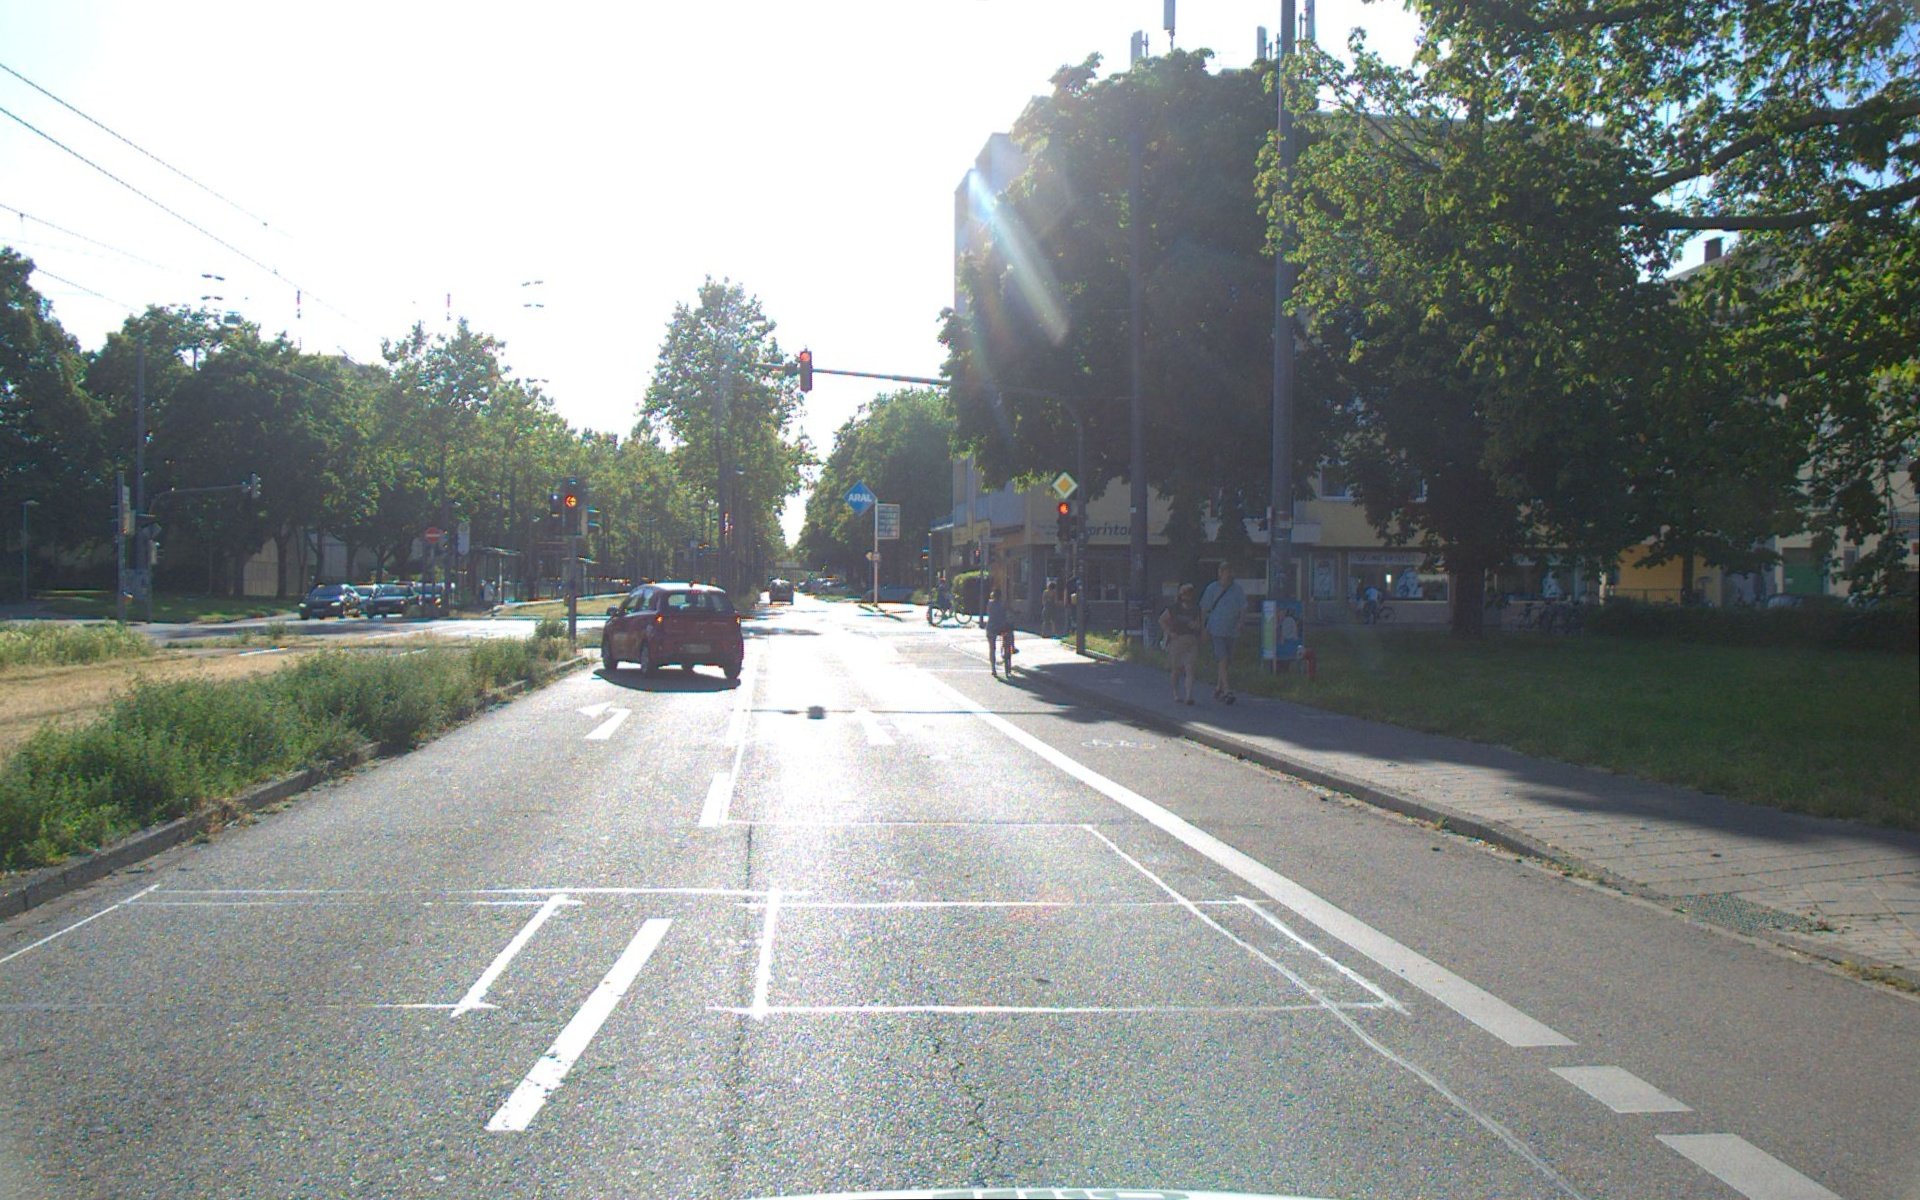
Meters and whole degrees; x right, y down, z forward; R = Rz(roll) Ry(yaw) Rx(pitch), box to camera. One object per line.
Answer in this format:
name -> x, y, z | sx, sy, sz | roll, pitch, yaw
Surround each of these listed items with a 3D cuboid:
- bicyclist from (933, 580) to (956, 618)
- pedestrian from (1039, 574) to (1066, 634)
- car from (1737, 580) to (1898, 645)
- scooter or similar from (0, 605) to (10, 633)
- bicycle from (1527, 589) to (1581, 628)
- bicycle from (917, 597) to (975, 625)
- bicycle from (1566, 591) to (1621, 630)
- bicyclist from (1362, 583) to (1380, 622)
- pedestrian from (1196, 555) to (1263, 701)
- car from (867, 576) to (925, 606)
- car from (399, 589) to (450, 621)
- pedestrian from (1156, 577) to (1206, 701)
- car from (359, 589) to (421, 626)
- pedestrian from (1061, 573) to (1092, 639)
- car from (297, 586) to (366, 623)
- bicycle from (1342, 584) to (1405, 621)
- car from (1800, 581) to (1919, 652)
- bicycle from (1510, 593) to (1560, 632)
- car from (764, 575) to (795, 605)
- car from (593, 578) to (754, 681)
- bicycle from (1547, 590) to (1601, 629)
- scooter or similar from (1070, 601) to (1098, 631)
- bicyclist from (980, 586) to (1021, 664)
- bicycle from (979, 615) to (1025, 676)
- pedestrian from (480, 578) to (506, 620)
bicyclist -> -0.622, -0.057, 66.067 | 0.752, 1.496, 0.899 | -1, 1, 10
pedestrian -> 2.440, 0.105, 43.775 | 0.633, 1.549, 0.496 | 2, 0, 6
car -> 20.873, 0.286, 40.299 | 3.187, 1.555, 1.573 | 0, 1, -9
scooter or similar -> -32.846, 0.643, 55.364 | 1.710, 0.915, 0.560 | 0, 1, -22
bicycle -> 16.977, 0.235, 47.310 | 0.585, 1.052, 2.004 | 2, 0, -7
bicycle -> -0.549, 0.444, 66.041 | 2.203, 1.004, 0.790 | 1, 5, 9
bicycle -> 18.218, 0.286, 47.583 | 0.585, 1.052, 2.004 | 2, 0, -7
bicyclist -> 16.773, 0.096, 67.564 | 0.517, 1.594, 0.463 | 2, 0, -9
pedestrian -> 3.471, 0.342, 21.347 | 0.689, 1.820, 0.694 | -2, 2, -1
car -> -4.569, -0.646, 118.204 | 3.903, 1.892, 2.013 | 2, 0, 4
car -> -25.856, 0.219, 79.973 | 1.536, 1.426, 3.910 | 2, 0, -6
pedestrian -> 2.848, 0.493, 21.365 | 0.518, 1.555, 0.627 | -2, 0, -1
car -> -25.210, 0.311, 73.282 | 1.655, 1.559, 4.355 | 0, 1, -6
pedestrian -> 3.088, 0.162, 43.821 | 0.714, 1.711, 0.533 | 2, 0, 6
car -> -27.599, 0.179, 72.769 | 1.772, 1.559, 4.355 | 0, 1, -6
bicycle -> 17.037, 0.117, 68.148 | 2.423, 1.424, 0.607 | 2, 0, -8
car -> 21.215, 0.356, 37.928 | 3.187, 1.555, 1.573 | 0, 1, -9
bicycle -> 16.385, 0.336, 47.164 | 0.585, 1.052, 1.793 | 2, 0, -7
car -> -12.073, -0.658, 110.562 | 1.931, 1.892, 3.993 | 2, 0, -8
car -> -4.850, 0.453, 27.639 | 1.674, 1.534, 3.668 | 2, 1, -26
bicycle -> 17.633, 0.269, 47.530 | 0.585, 1.052, 1.988 | 2, 0, -7
scooter or similar -> 3.241, 0.423, 43.212 | 0.586, 0.750, 0.680 | 2, 0, -7
bicyclist -> 0.723, 0.443, 29.695 | 0.625, 1.346, 0.802 | 2, 0, -4
bicycle -> 0.730, 0.791, 29.527 | 0.635, 0.989, 1.802 | 2, 0, -3
pedestrian -> -18.853, -0.042, 66.811 | 0.874, 1.634, 0.613 | 2, 0, -7
